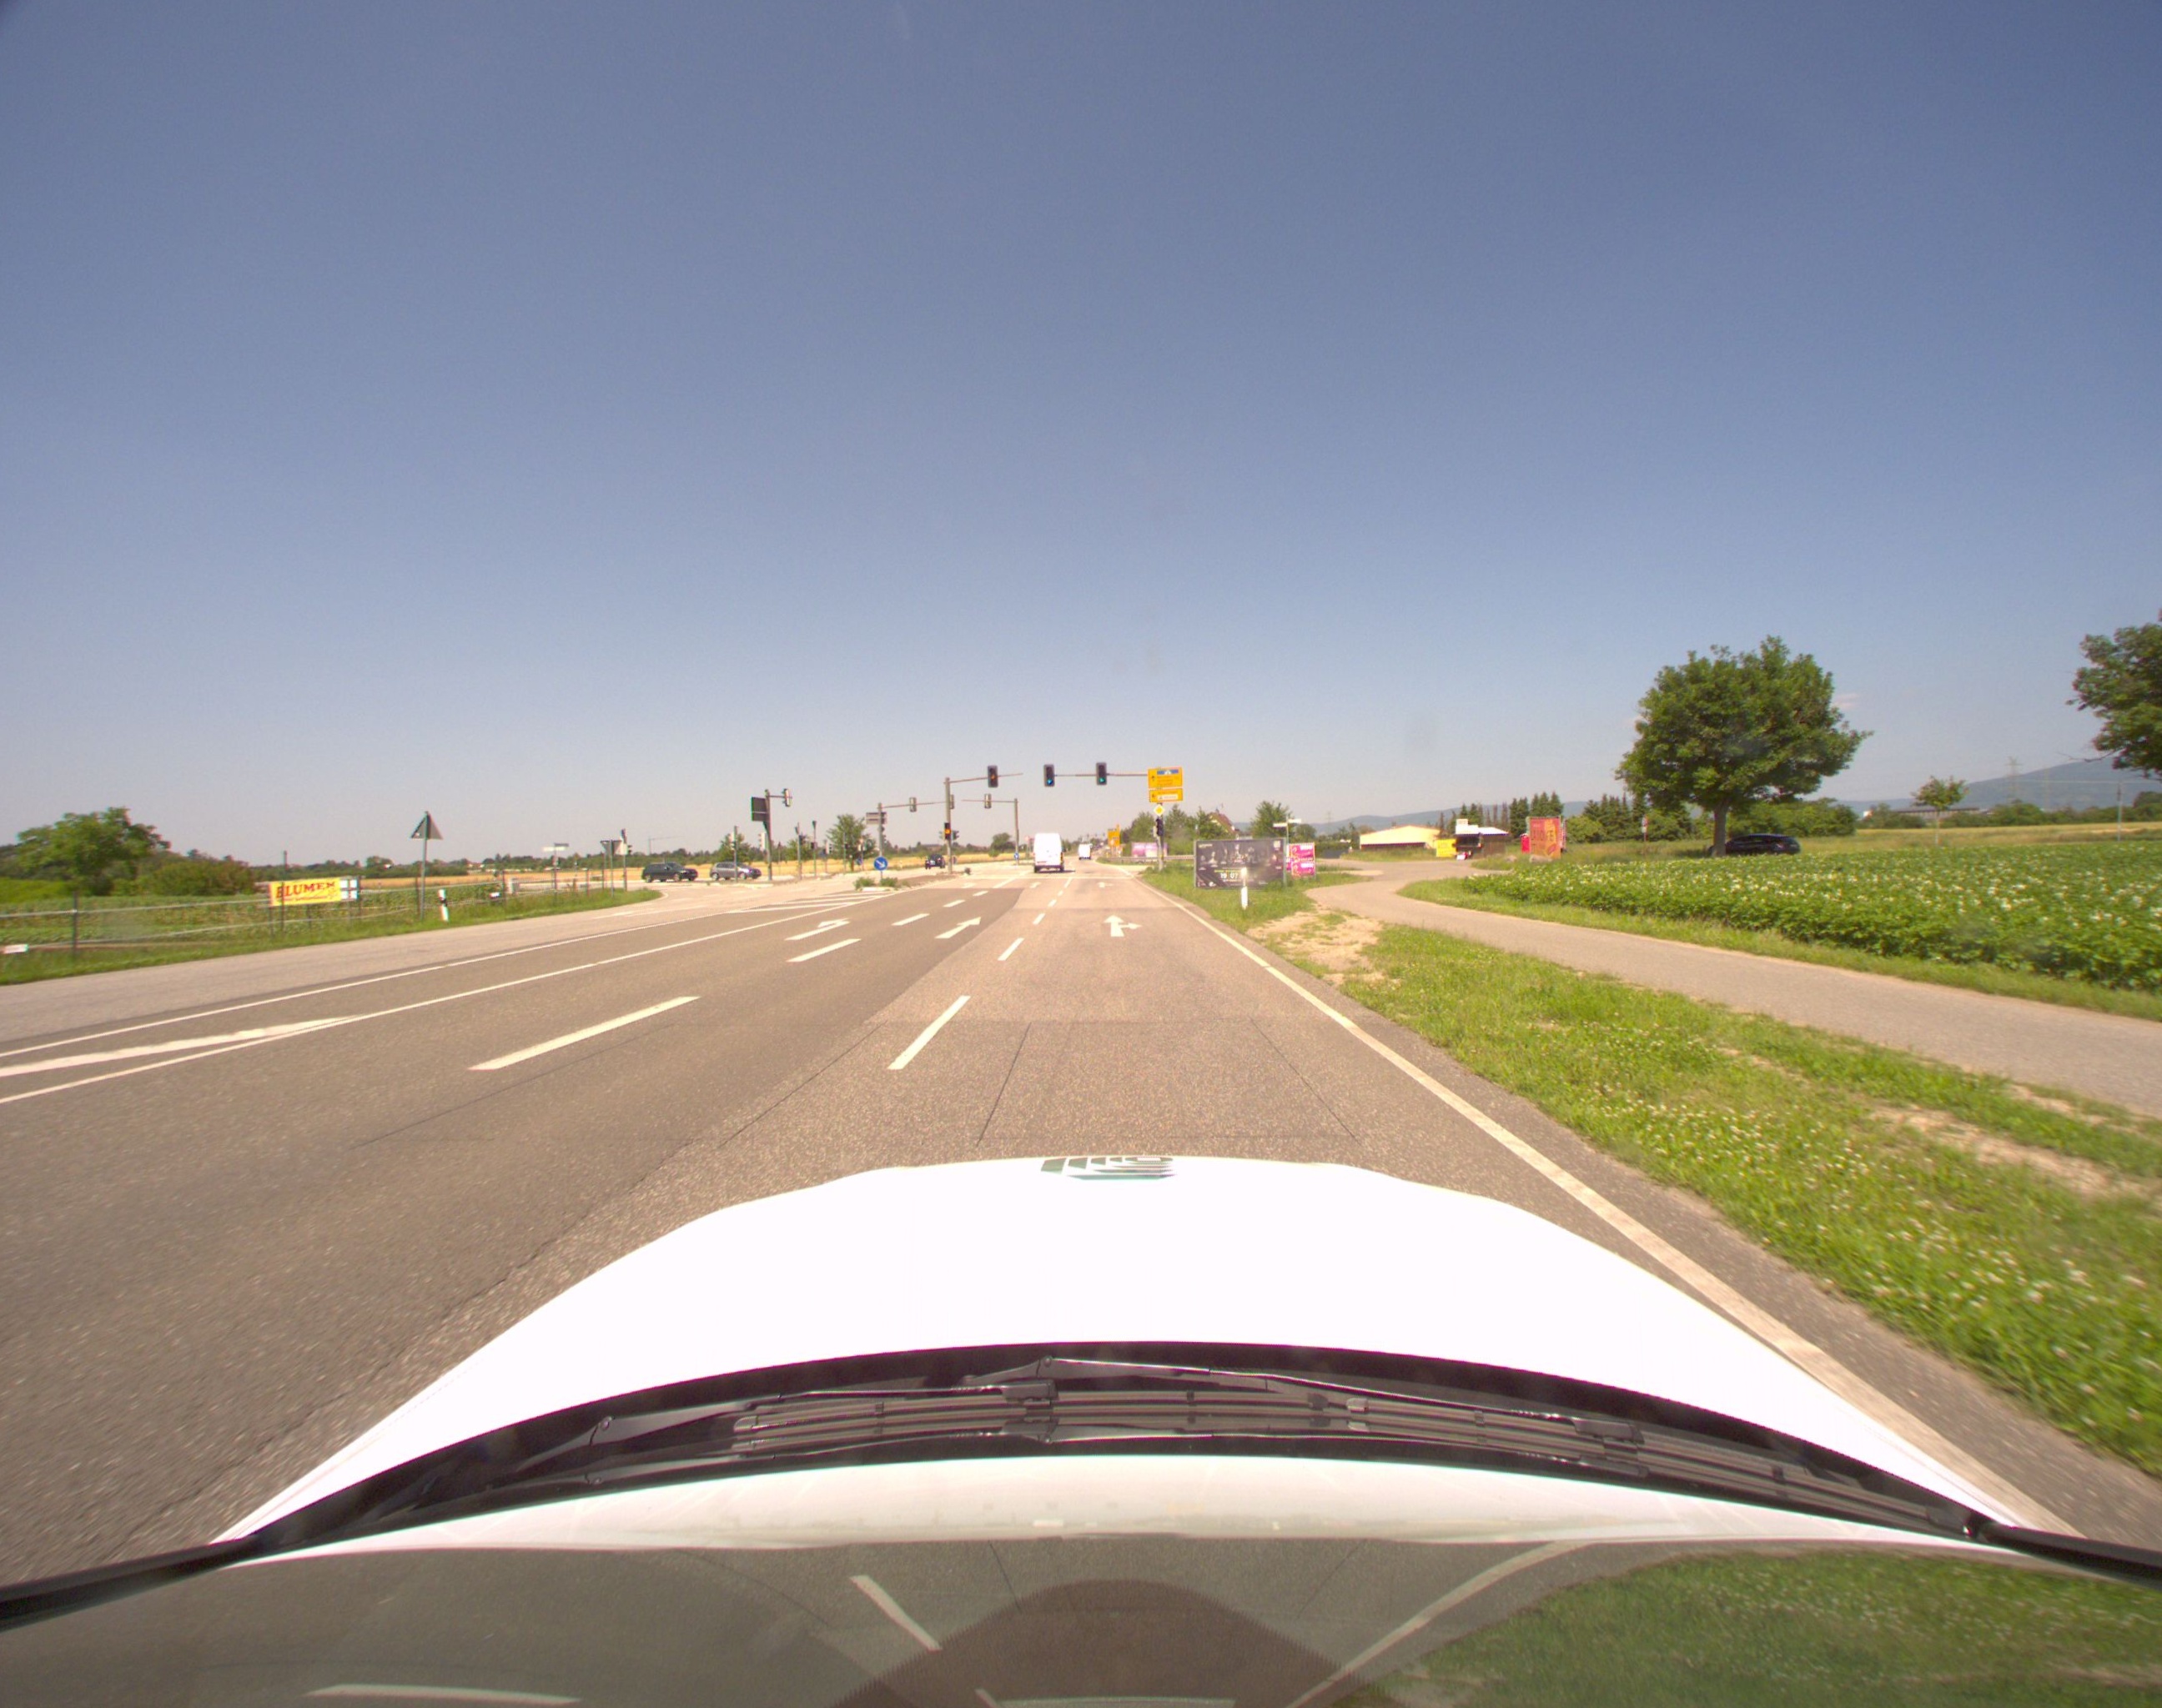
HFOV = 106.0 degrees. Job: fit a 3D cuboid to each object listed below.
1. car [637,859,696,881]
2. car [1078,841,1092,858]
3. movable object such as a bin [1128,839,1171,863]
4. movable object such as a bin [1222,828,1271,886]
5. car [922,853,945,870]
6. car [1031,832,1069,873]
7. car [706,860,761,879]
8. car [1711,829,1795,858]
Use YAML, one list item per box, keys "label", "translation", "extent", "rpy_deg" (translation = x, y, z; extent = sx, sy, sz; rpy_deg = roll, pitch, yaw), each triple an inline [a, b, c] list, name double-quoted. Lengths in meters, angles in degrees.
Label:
- label: "car"
  translation: [-34.362, 1.296, 67.589]
  extent: [4.322, 1.594, 1.642]
  rpy_deg: [-3, 0, 16]
- label: "car"
  translation: [0.702, -0.685, 136.523]
  extent: [1.985, 2.695, 4.974]
  rpy_deg: [0, -1, 4]
- label: "movable object such as a bin"
  translation: [6.667, -0.288, 79.784]
  extent: [4.086, 2.331, 1.276]
  rpy_deg: [0, 0, -4]
- label: "movable object such as a bin"
  translation: [7.270, 0.129, 35.468]
  extent: [1.509, 2.363, 4.445]
  rpy_deg: [0, 0, 19]
- label: "car"
  translation: [-15.383, 0.784, 85.293]
  extent: [1.826, 1.600, 4.300]
  rpy_deg: [-2, 0, -4]
- label: "car"
  translation: [-2.072, -0.128, 56.389]
  extent: [2.030, 2.620, 5.747]
  rpy_deg: [-2, 0, 3]
- label: "car"
  translation: [-28.200, 1.268, 66.104]
  extent: [3.840, 1.387, 1.641]
  rpy_deg: [-1, 1, 13]
- label: "car"
  translation: [37.805, -0.568, 45.954]
  extent: [1.748, 1.527, 3.889]
  rpy_deg: [-2, 0, 5]
